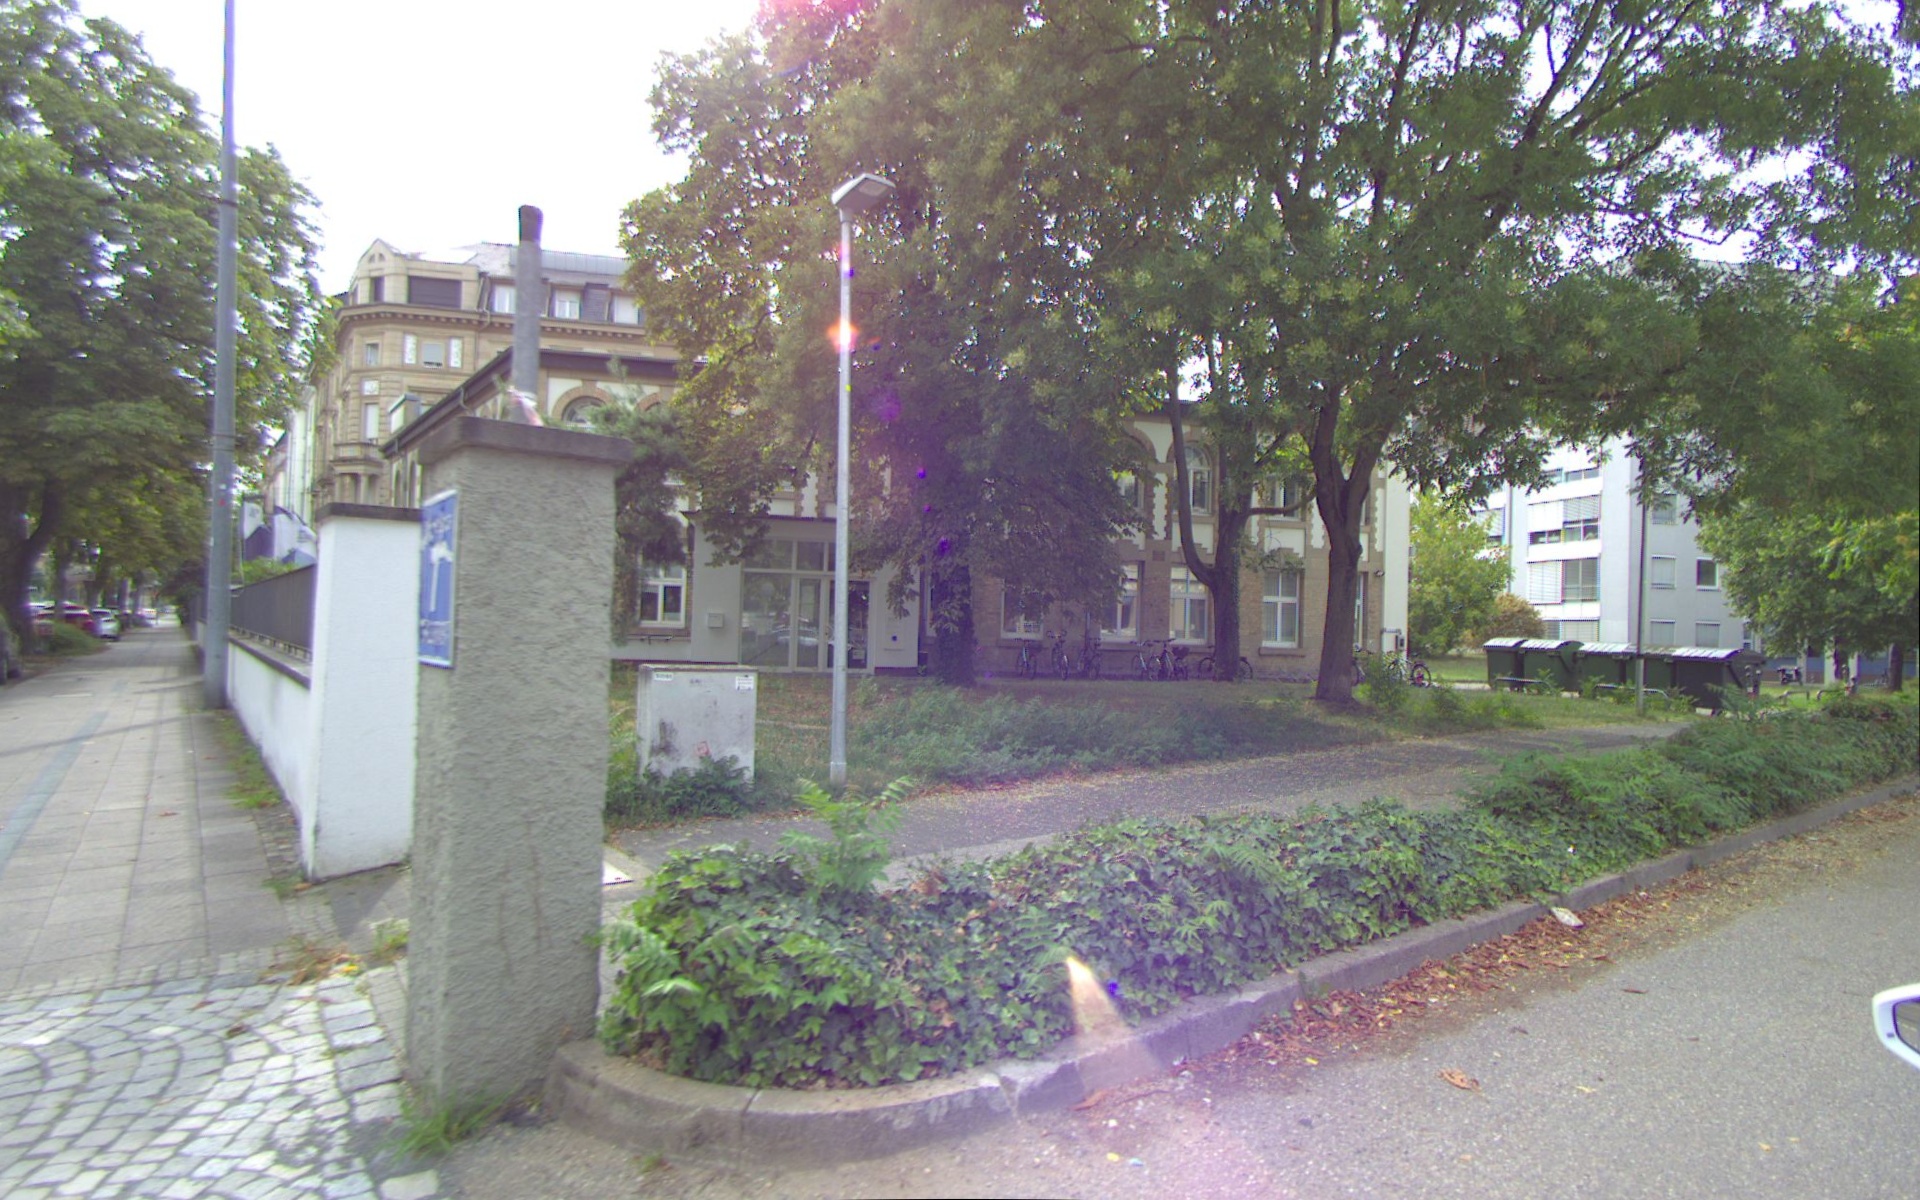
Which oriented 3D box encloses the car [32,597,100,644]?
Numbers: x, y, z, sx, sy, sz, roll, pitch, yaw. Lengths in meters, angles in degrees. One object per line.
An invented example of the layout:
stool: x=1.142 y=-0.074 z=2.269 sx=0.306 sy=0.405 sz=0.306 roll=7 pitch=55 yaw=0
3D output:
car: x=-33.450 y=0.769 z=37.661 sx=1.646 sy=1.655 sz=3.862 roll=3 pitch=-2 yaw=-39

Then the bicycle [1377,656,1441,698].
bicycle: x=12.771 y=2.175 z=28.635 sx=0.584 sy=1.057 sz=1.973 roll=2 pitch=-1 yaw=-13

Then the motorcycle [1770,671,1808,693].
motorcycle: x=51.897 y=5.136 z=62.852 sx=2.110 sy=1.307 sz=0.667 roll=2 pitch=-1 yaw=-13

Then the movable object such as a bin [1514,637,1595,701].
movable object such as a bin: x=14.561 y=1.675 z=24.635 sx=1.102 sy=1.449 sz=1.281 roll=2 pitch=-1 yaw=-11

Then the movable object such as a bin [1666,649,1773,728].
movable object such as a bin: x=15.216 y=1.755 z=20.165 sx=1.102 sy=1.449 sz=1.281 roll=2 pitch=-1 yaw=-11

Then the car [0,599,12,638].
car: x=-48.827 y=0.882 z=50.215 sx=1.724 sy=1.909 sz=4.327 roll=3 pitch=-2 yaw=-40

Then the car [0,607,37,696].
car: x=-19.699 y=0.971 z=20.012 sx=1.646 sy=1.655 sz=3.683 roll=3 pitch=-2 yaw=-39

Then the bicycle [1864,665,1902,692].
bicycle: x=43.314 y=3.702 z=47.121 sx=1.874 sy=1.197 sz=0.648 roll=3 pitch=-1 yaw=-25

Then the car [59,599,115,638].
car: x=-38.686 y=0.811 z=44.577 sx=1.646 sy=1.622 sz=3.862 roll=3 pitch=-2 yaw=-39

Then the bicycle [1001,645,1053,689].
bicycle: x=1.747 y=1.739 z=26.376 sx=0.586 sy=1.057 sz=1.968 roll=2 pitch=-1 yaw=-20

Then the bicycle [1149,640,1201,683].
bicycle: x=5.790 y=1.649 z=27.144 sx=0.584 sy=1.057 sz=1.973 roll=2 pitch=-1 yaw=-13

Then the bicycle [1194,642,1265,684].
bicycle: x=7.449 y=1.726 z=27.853 sx=0.589 sy=1.057 sz=1.957 roll=2 pitch=-1 yaw=-36

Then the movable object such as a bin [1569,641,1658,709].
movable object such as a bin: x=15.000 y=1.713 z=23.083 sx=1.102 sy=1.449 sz=1.281 roll=2 pitch=-1 yaw=-11

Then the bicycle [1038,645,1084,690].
bicycle: x=2.649 y=1.759 z=26.470 sx=0.584 sy=1.057 sz=1.973 roll=2 pitch=-1 yaw=-13

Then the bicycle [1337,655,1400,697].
bicycle: x=11.481 y=2.115 z=28.285 sx=0.584 sy=1.057 sz=1.973 roll=2 pitch=-1 yaw=-13

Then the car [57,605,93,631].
car: x=-67.359 y=1.353 z=76.503 sx=1.786 sy=1.848 sz=4.625 roll=3 pitch=-2 yaw=-39

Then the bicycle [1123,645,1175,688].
bicycle: x=5.045 y=1.765 z=26.919 sx=0.584 sy=1.057 sz=1.973 roll=2 pitch=-1 yaw=-13

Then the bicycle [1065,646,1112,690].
bicycle: x=3.390 y=1.790 z=26.687 sx=0.584 sy=1.057 sz=1.973 roll=2 pitch=-1 yaw=-13

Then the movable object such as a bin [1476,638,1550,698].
movable object such as a bin: x=14.296 y=1.749 z=25.996 sx=1.102 sy=1.449 sz=1.281 roll=2 pitch=-1 yaw=-11

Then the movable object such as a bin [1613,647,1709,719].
movable object such as a bin: x=15.137 y=1.778 z=21.721 sx=1.102 sy=1.449 sz=1.281 roll=2 pitch=-1 yaw=-11
